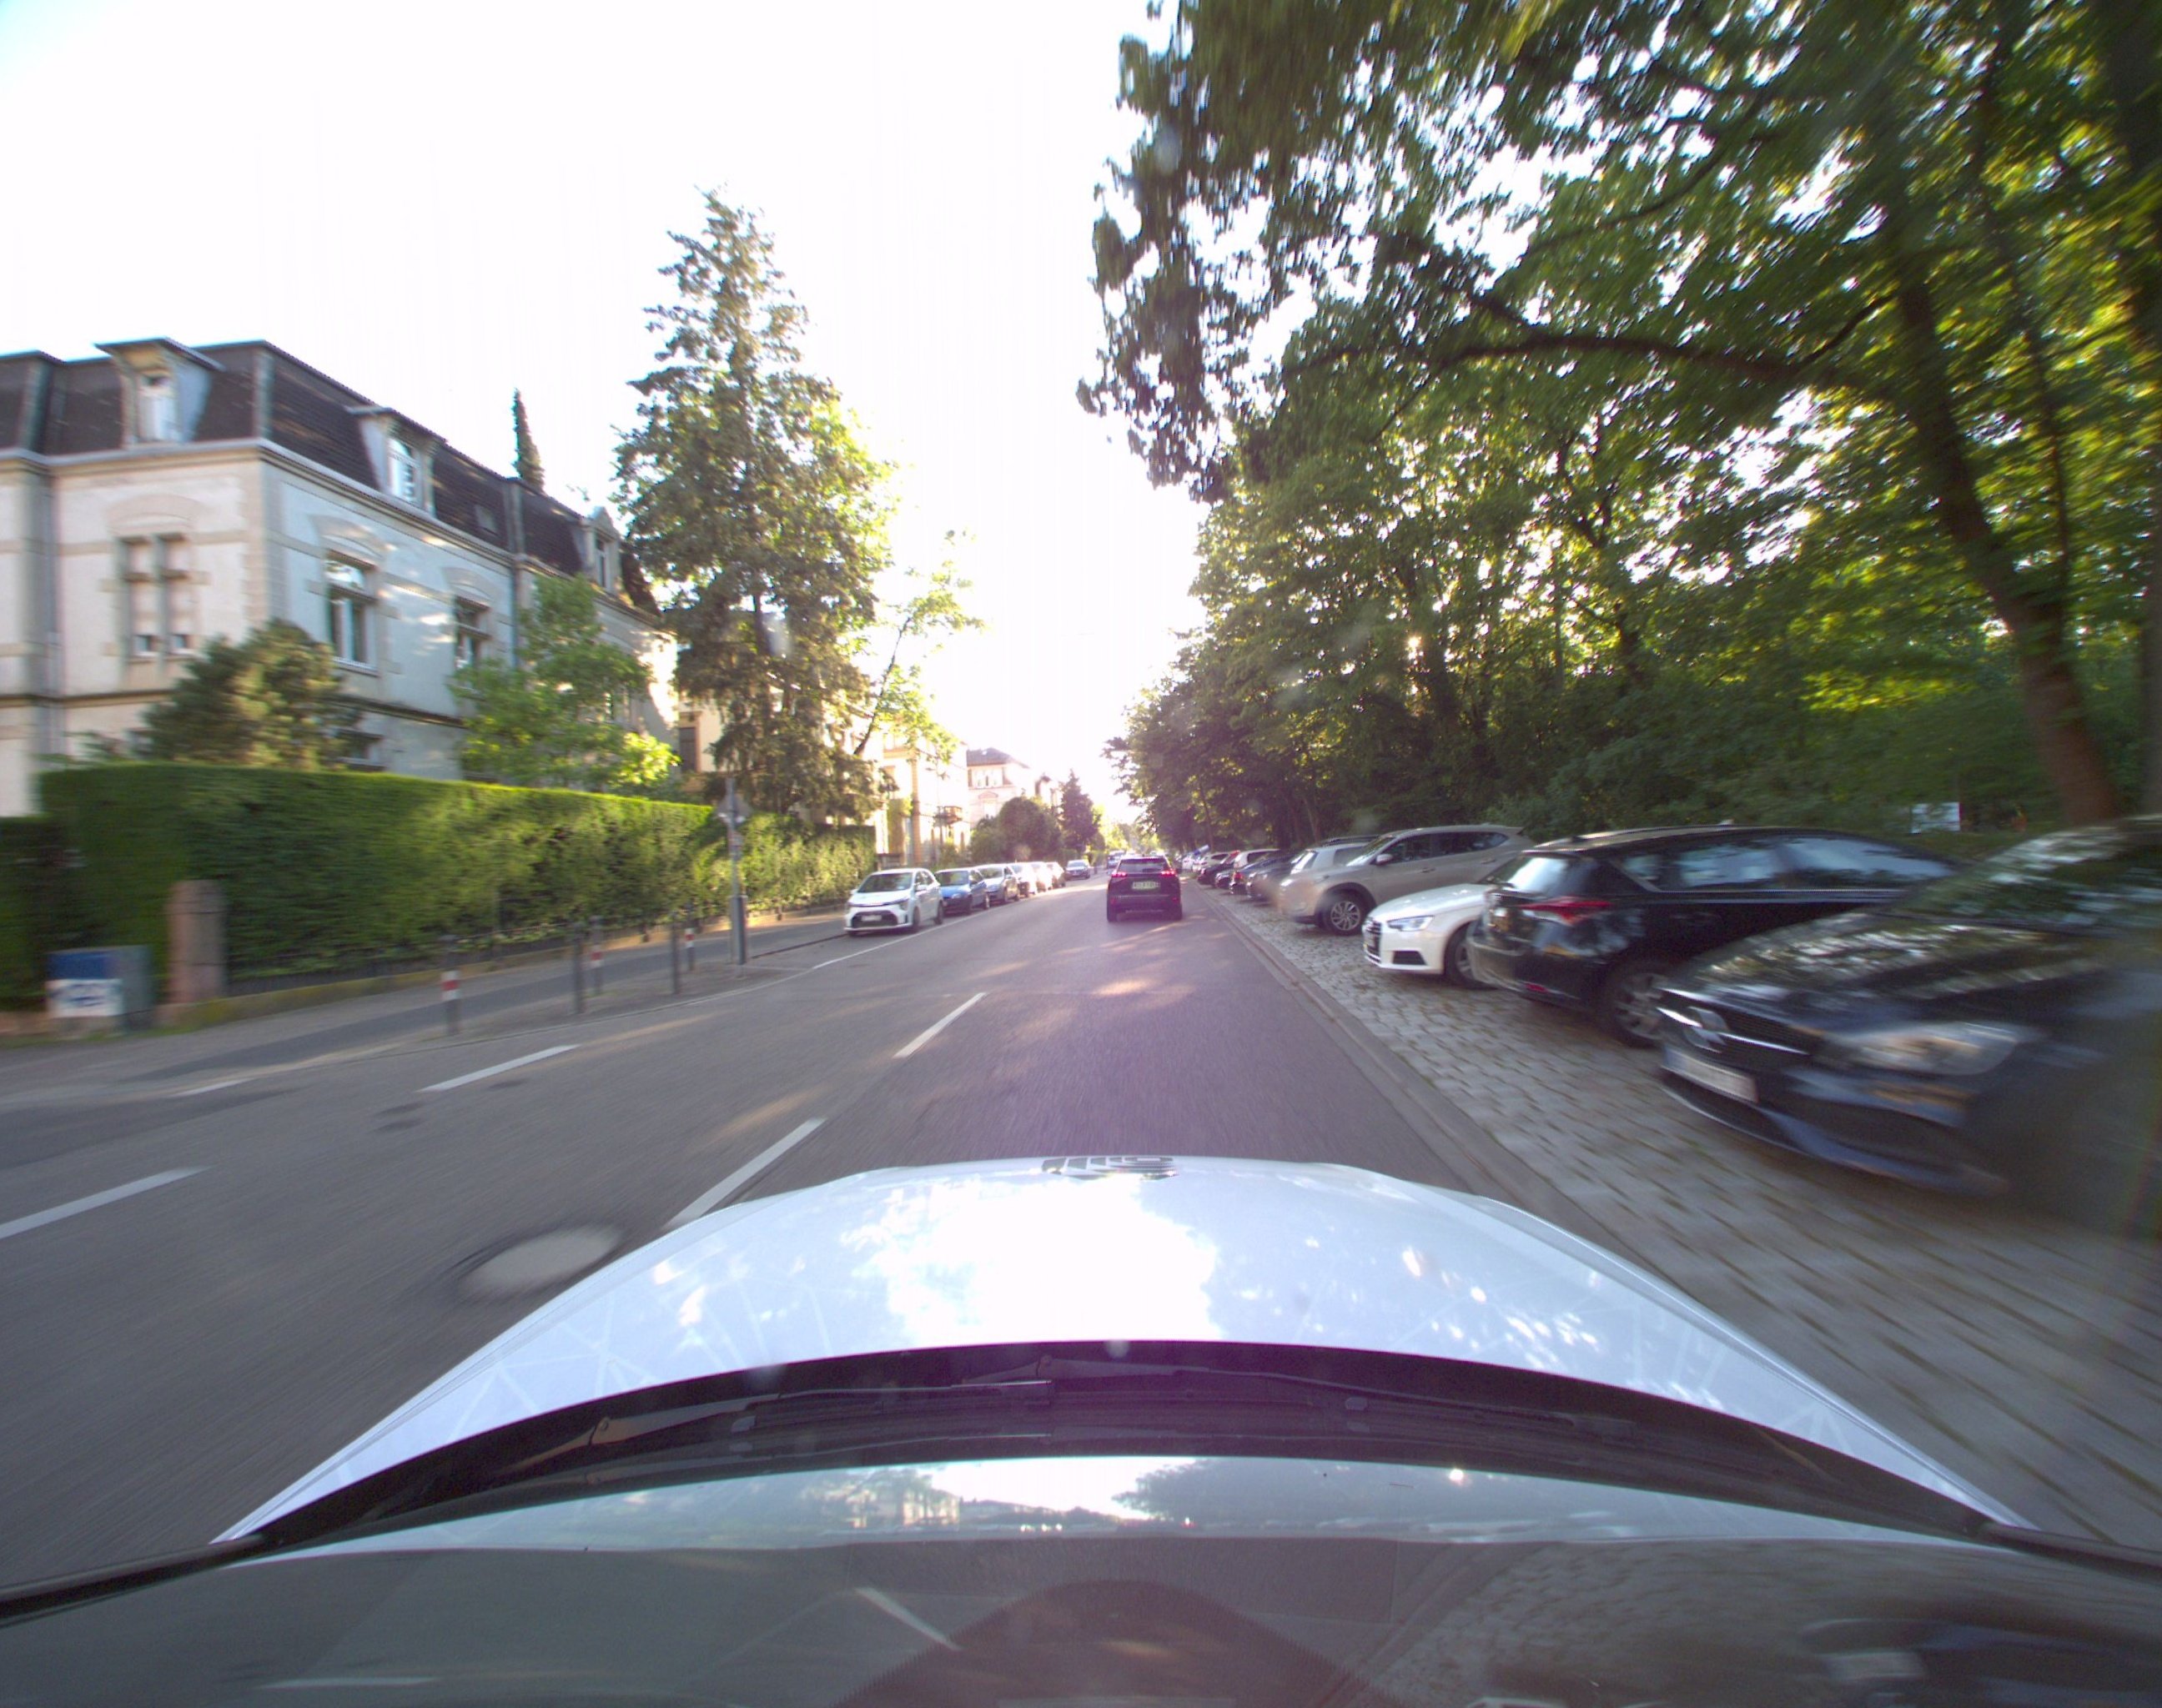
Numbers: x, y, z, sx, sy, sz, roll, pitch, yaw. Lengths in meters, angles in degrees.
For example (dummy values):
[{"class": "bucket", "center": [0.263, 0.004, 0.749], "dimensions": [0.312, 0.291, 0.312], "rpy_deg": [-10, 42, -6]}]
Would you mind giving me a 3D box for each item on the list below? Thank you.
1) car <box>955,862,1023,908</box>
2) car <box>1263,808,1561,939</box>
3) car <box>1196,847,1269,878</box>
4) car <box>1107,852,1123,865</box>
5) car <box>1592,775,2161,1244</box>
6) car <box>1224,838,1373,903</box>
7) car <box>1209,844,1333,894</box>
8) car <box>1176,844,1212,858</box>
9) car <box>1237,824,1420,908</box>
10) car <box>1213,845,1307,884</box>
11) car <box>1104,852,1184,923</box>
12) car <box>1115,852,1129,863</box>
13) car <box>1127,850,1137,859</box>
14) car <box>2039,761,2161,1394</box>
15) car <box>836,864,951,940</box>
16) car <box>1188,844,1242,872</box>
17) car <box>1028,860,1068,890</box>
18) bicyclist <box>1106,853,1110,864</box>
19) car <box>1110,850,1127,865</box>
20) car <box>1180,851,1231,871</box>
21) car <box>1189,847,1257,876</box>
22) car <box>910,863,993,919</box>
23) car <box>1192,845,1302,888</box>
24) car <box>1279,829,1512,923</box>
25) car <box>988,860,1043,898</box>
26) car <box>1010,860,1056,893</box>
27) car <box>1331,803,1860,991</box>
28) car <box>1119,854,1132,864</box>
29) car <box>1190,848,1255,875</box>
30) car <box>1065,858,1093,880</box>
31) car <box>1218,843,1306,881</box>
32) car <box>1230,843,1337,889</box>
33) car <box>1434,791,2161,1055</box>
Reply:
[{"class": "car", "center": [-3.321, 1.092, 30.139], "dimensions": [1.605, 1.466, 4.042], "rpy_deg": [-3, 0, 6]}, {"class": "car", "center": [5.529, 0.321, 14.139], "dimensions": [4.287, 1.804, 2.038], "rpy_deg": [-4, -1, 4]}, {"class": "car", "center": [8.599, 0.474, 46.501], "dimensions": [3.794, 1.449, 1.826], "rpy_deg": [-4, -1, 1]}, {"class": "car", "center": [4.500, 0.613, 107.503], "dimensions": [1.890, 1.574, 4.006], "rpy_deg": [-3, 0, 5]}, {"class": "car", "center": [4.775, 0.436, 3.511], "dimensions": [3.968, 1.554, 1.728], "rpy_deg": [-3, 1, 5]}, {"class": "car", "center": [6.377, 0.473, 24.217], "dimensions": [3.968, 1.554, 1.728], "rpy_deg": [-5, -1, 5]}, {"class": "car", "center": [6.748, 0.539, 29.258], "dimensions": [4.133, 1.449, 1.735], "rpy_deg": [-4, -1, 8]}, {"class": "car", "center": [13.035, -0.344, 93.843], "dimensions": [3.966, 1.526, 1.761], "rpy_deg": [-3, 0, 6]}, {"class": "car", "center": [6.418, 0.317, 21.546], "dimensions": [4.225, 1.789, 1.886], "rpy_deg": [-5, -1, 5]}, {"class": "car", "center": [8.081, 0.456, 37.042], "dimensions": [3.794, 1.449, 1.878], "rpy_deg": [-4, -1, 1]}, {"class": "car", "center": [1.491, 0.757, 20.300], "dimensions": [1.765, 1.568, 4.111], "rpy_deg": [0, 0, 2]}, {"class": "car", "center": [6.508, 0.541, 129.910], "dimensions": [1.984, 1.768, 4.005], "rpy_deg": [-3, 0, 5]}, {"class": "car", "center": [10.539, 0.038, 168.667], "dimensions": [1.984, 1.816, 4.006], "rpy_deg": [-3, 0, 5]}, {"class": "car", "center": [4.525, 0.453, 1.192], "dimensions": [3.968, 1.554, 1.728], "rpy_deg": [-3, 1, 5]}, {"class": "car", "center": [-4.425, 1.079, 19.795], "dimensions": [1.607, 1.515, 3.716], "rpy_deg": [-5, -1, 4]}, {"class": "car", "center": [10.826, 0.315, 65.953], "dimensions": [3.974, 2.089, 1.758], "rpy_deg": [-3, 0, 0]}, {"class": "car", "center": [-1.797, 1.149, 46.059], "dimensions": [1.605, 1.466, 4.042], "rpy_deg": [-3, 0, 6]}, {"class": "bicyclist", "center": [4.684, 0.774, 141.816], "dimensions": [0.690, 1.792, 0.773], "rpy_deg": [-2, -1, 2]}, {"class": "car", "center": [5.445, 0.481, 118.068], "dimensions": [1.983, 2.013, 4.007], "rpy_deg": [-3, 0, 6]}, {"class": "car", "center": [10.493, 0.587, 68.784], "dimensions": [3.974, 1.526, 1.758], "rpy_deg": [-3, 0, 0]}, {"class": "car", "center": [8.996, 0.496, 51.760], "dimensions": [3.974, 1.624, 1.758], "rpy_deg": [-3, 0, 0]}, {"class": "car", "center": [-3.957, 1.087, 25.394], "dimensions": [1.606, 1.485, 3.747], "rpy_deg": [-3, 0, 5]}, {"class": "car", "center": [6.934, 0.536, 34.325], "dimensions": [4.225, 1.449, 2.023], "rpy_deg": [-4, -1, 3]}, {"class": "car", "center": [6.133, 0.432, 16.264], "dimensions": [3.968, 1.554, 1.728], "rpy_deg": [-3, -1, 5]}, {"class": "car", "center": [-2.834, 1.068, 35.902], "dimensions": [1.605, 1.466, 4.042], "rpy_deg": [-3, 0, 6]}, {"class": "car", "center": [-2.372, 1.116, 41.302], "dimensions": [1.605, 1.466, 4.042], "rpy_deg": [-3, 0, 6]}, {"class": "car", "center": [5.253, 0.442, 8.823], "dimensions": [4.468, 1.554, 1.857], "rpy_deg": [-3, -2, 1]}, {"class": "car", "center": [7.946, 0.871, 145.646], "dimensions": [1.984, 1.816, 4.006], "rpy_deg": [-3, 0, 5]}, {"class": "car", "center": [9.343, 0.503, 54.014], "dimensions": [3.974, 1.624, 1.758], "rpy_deg": [-3, 0, 0]}, {"class": "car", "center": [-0.143, 1.137, 62.067], "dimensions": [1.744, 1.413, 3.768], "rpy_deg": [-5, 0, 4]}, {"class": "car", "center": [8.735, 0.401, 39.508], "dimensions": [3.794, 1.510, 1.826], "rpy_deg": [-4, -1, 1]}, {"class": "car", "center": [7.790, 0.450, 31.566], "dimensions": [3.786, 1.449, 1.830], "rpy_deg": [-4, -1, 8]}, {"class": "car", "center": [5.110, 0.466, 6.300], "dimensions": [3.968, 1.554, 1.755], "rpy_deg": [-3, 1, 5]}]
